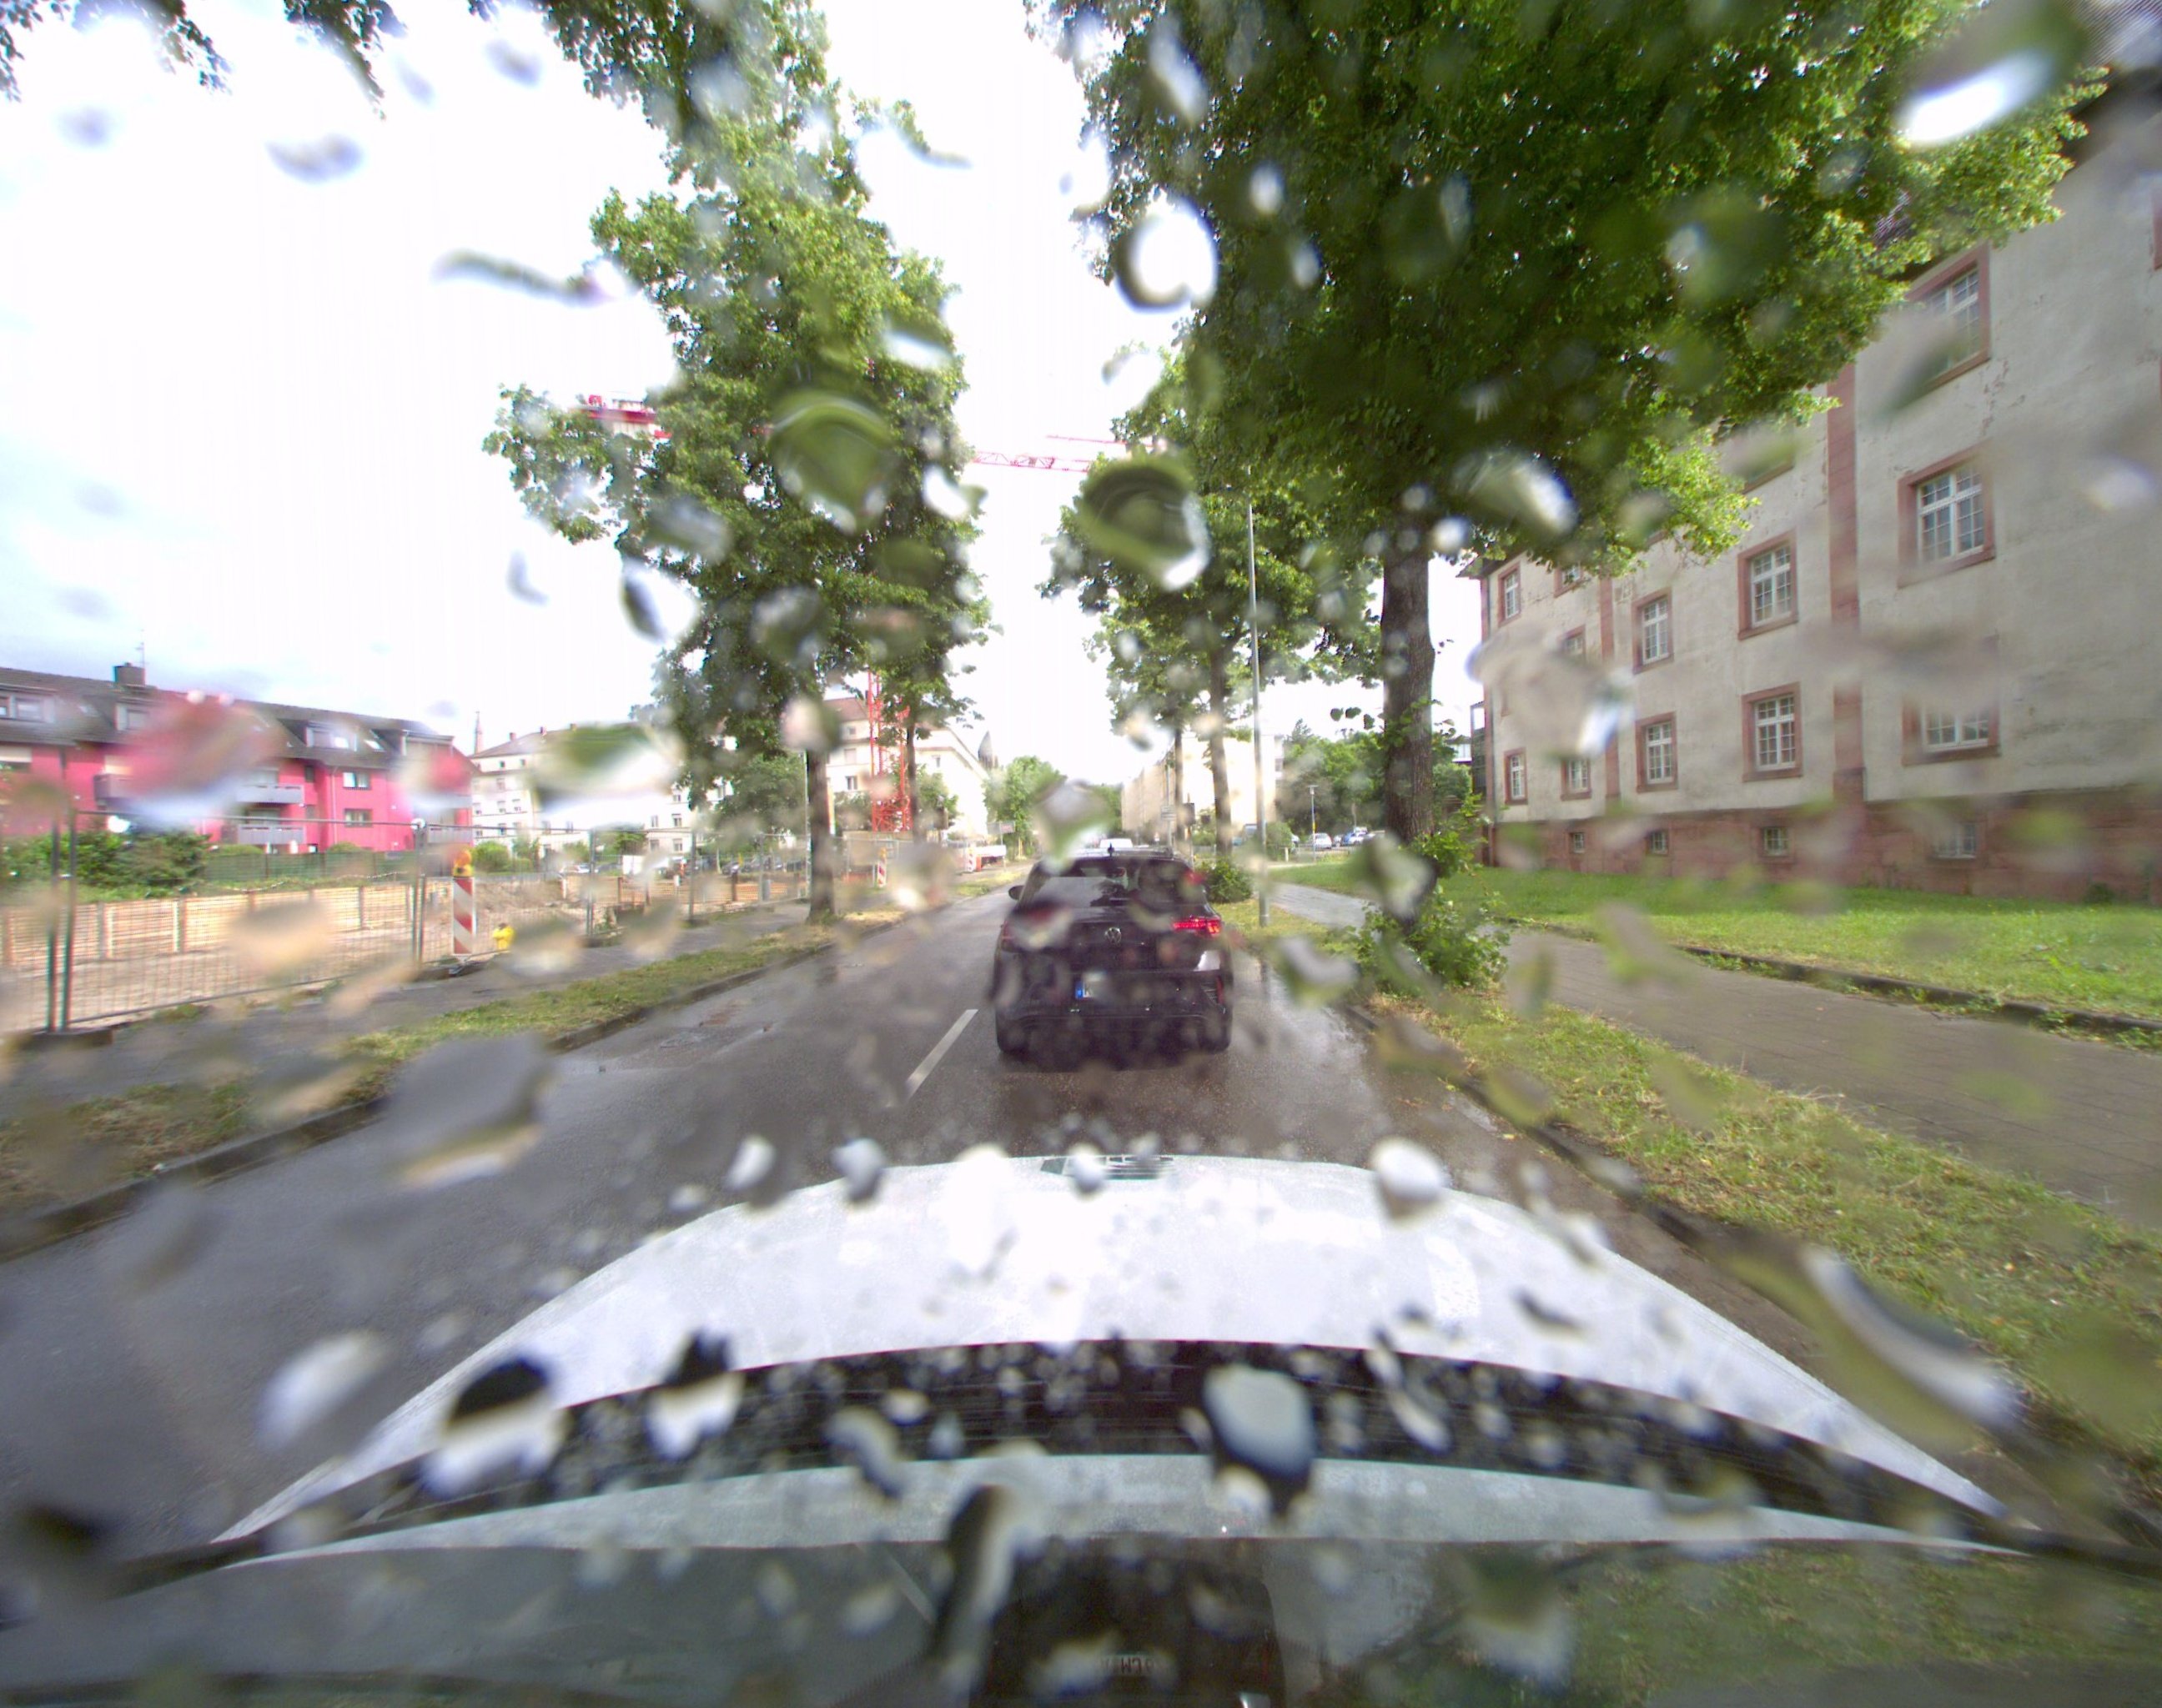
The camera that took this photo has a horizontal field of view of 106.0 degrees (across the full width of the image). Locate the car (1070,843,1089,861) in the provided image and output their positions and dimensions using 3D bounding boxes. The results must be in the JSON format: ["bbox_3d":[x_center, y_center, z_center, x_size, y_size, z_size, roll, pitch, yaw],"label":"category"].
[{"bbox_3d":[-0.162,-0.214,85.768,1.783,1.683,4.487,-5,1,1],"label":"car"}]

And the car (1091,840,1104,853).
[{"bbox_3d":[2.093,-0.945,103.303,1.586,1.512,3.732,-5,1,1],"label":"car"}]

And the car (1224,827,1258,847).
[{"bbox_3d":[16.851,-1.783,85.973,3.386,1.781,1.765,-5,0,10],"label":"car"}]

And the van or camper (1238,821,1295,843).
[{"bbox_3d":[17.244,-2.035,76.036,4.856,1.925,2.133,-1,1,2],"label":"van or camper"}]

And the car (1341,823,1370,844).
[{"bbox_3d":[29.382,-2.202,87.331,1.984,2.013,4.007,-5,0,6],"label":"car"}]

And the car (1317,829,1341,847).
[{"bbox_3d":[28.341,-1.842,93.163,1.858,1.856,3.816,-5,0,6],"label":"car"}]

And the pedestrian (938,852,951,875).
[{"bbox_3d":[-9.191,0.640,54.768,0.663,1.485,0.668,-2,1,-23],"label":"pedestrian"}]

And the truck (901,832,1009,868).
[{"bbox_3d":[-10.209,-0.334,66.237,8.150,2.656,2.827,-1,1,16],"label":"truck"}]

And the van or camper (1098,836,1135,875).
[{"bbox_3d":[1.918,0.041,43.483,1.812,1.947,4.199,-1,1,3],"label":"van or camper"}]

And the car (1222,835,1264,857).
[{"bbox_3d":[14.174,-0.698,71.361,3.388,1.781,1.764,-3,0,8],"label":"car"}]

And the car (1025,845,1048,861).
[{"bbox_3d":[-4.617,-0.109,85.013,1.582,1.512,3.740,-5,1,8],"label":"car"}]

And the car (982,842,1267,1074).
[{"bbox_3d":[0.360,0.682,7.497,1.887,1.522,4.002,-1,1,2],"label":"car"}]

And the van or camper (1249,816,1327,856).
[{"bbox_3d":[14.887,-1.272,58.681,5.016,2.595,2.168,-3,0,0],"label":"van or camper"}]

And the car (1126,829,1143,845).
[{"bbox_3d":[6.808,-2.155,104.601,1.986,2.013,4.002,-1,0,2],"label":"car"}]

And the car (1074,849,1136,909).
[{"bbox_3d":[0.854,0.757,26.703,1.672,1.708,3.915,-4,0,5],"label":"car"}]

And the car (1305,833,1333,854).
[{"bbox_3d":[20.978,-0.960,71.994,1.733,1.683,3.879,-5,0,8],"label":"car"}]

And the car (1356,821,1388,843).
[{"bbox_3d":[29.322,-2.164,82.064,1.984,2.013,4.007,-5,0,6],"label":"car"}]

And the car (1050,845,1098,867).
[{"bbox_3d":[-0.652,0.212,74.340,3.951,1.650,1.741,-5,0,-33],"label":"car"}]

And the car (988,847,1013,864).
[{"bbox_3d":[-8.140,0.176,83.081,1.582,1.512,3.740,-5,1,8],"label":"car"}]
